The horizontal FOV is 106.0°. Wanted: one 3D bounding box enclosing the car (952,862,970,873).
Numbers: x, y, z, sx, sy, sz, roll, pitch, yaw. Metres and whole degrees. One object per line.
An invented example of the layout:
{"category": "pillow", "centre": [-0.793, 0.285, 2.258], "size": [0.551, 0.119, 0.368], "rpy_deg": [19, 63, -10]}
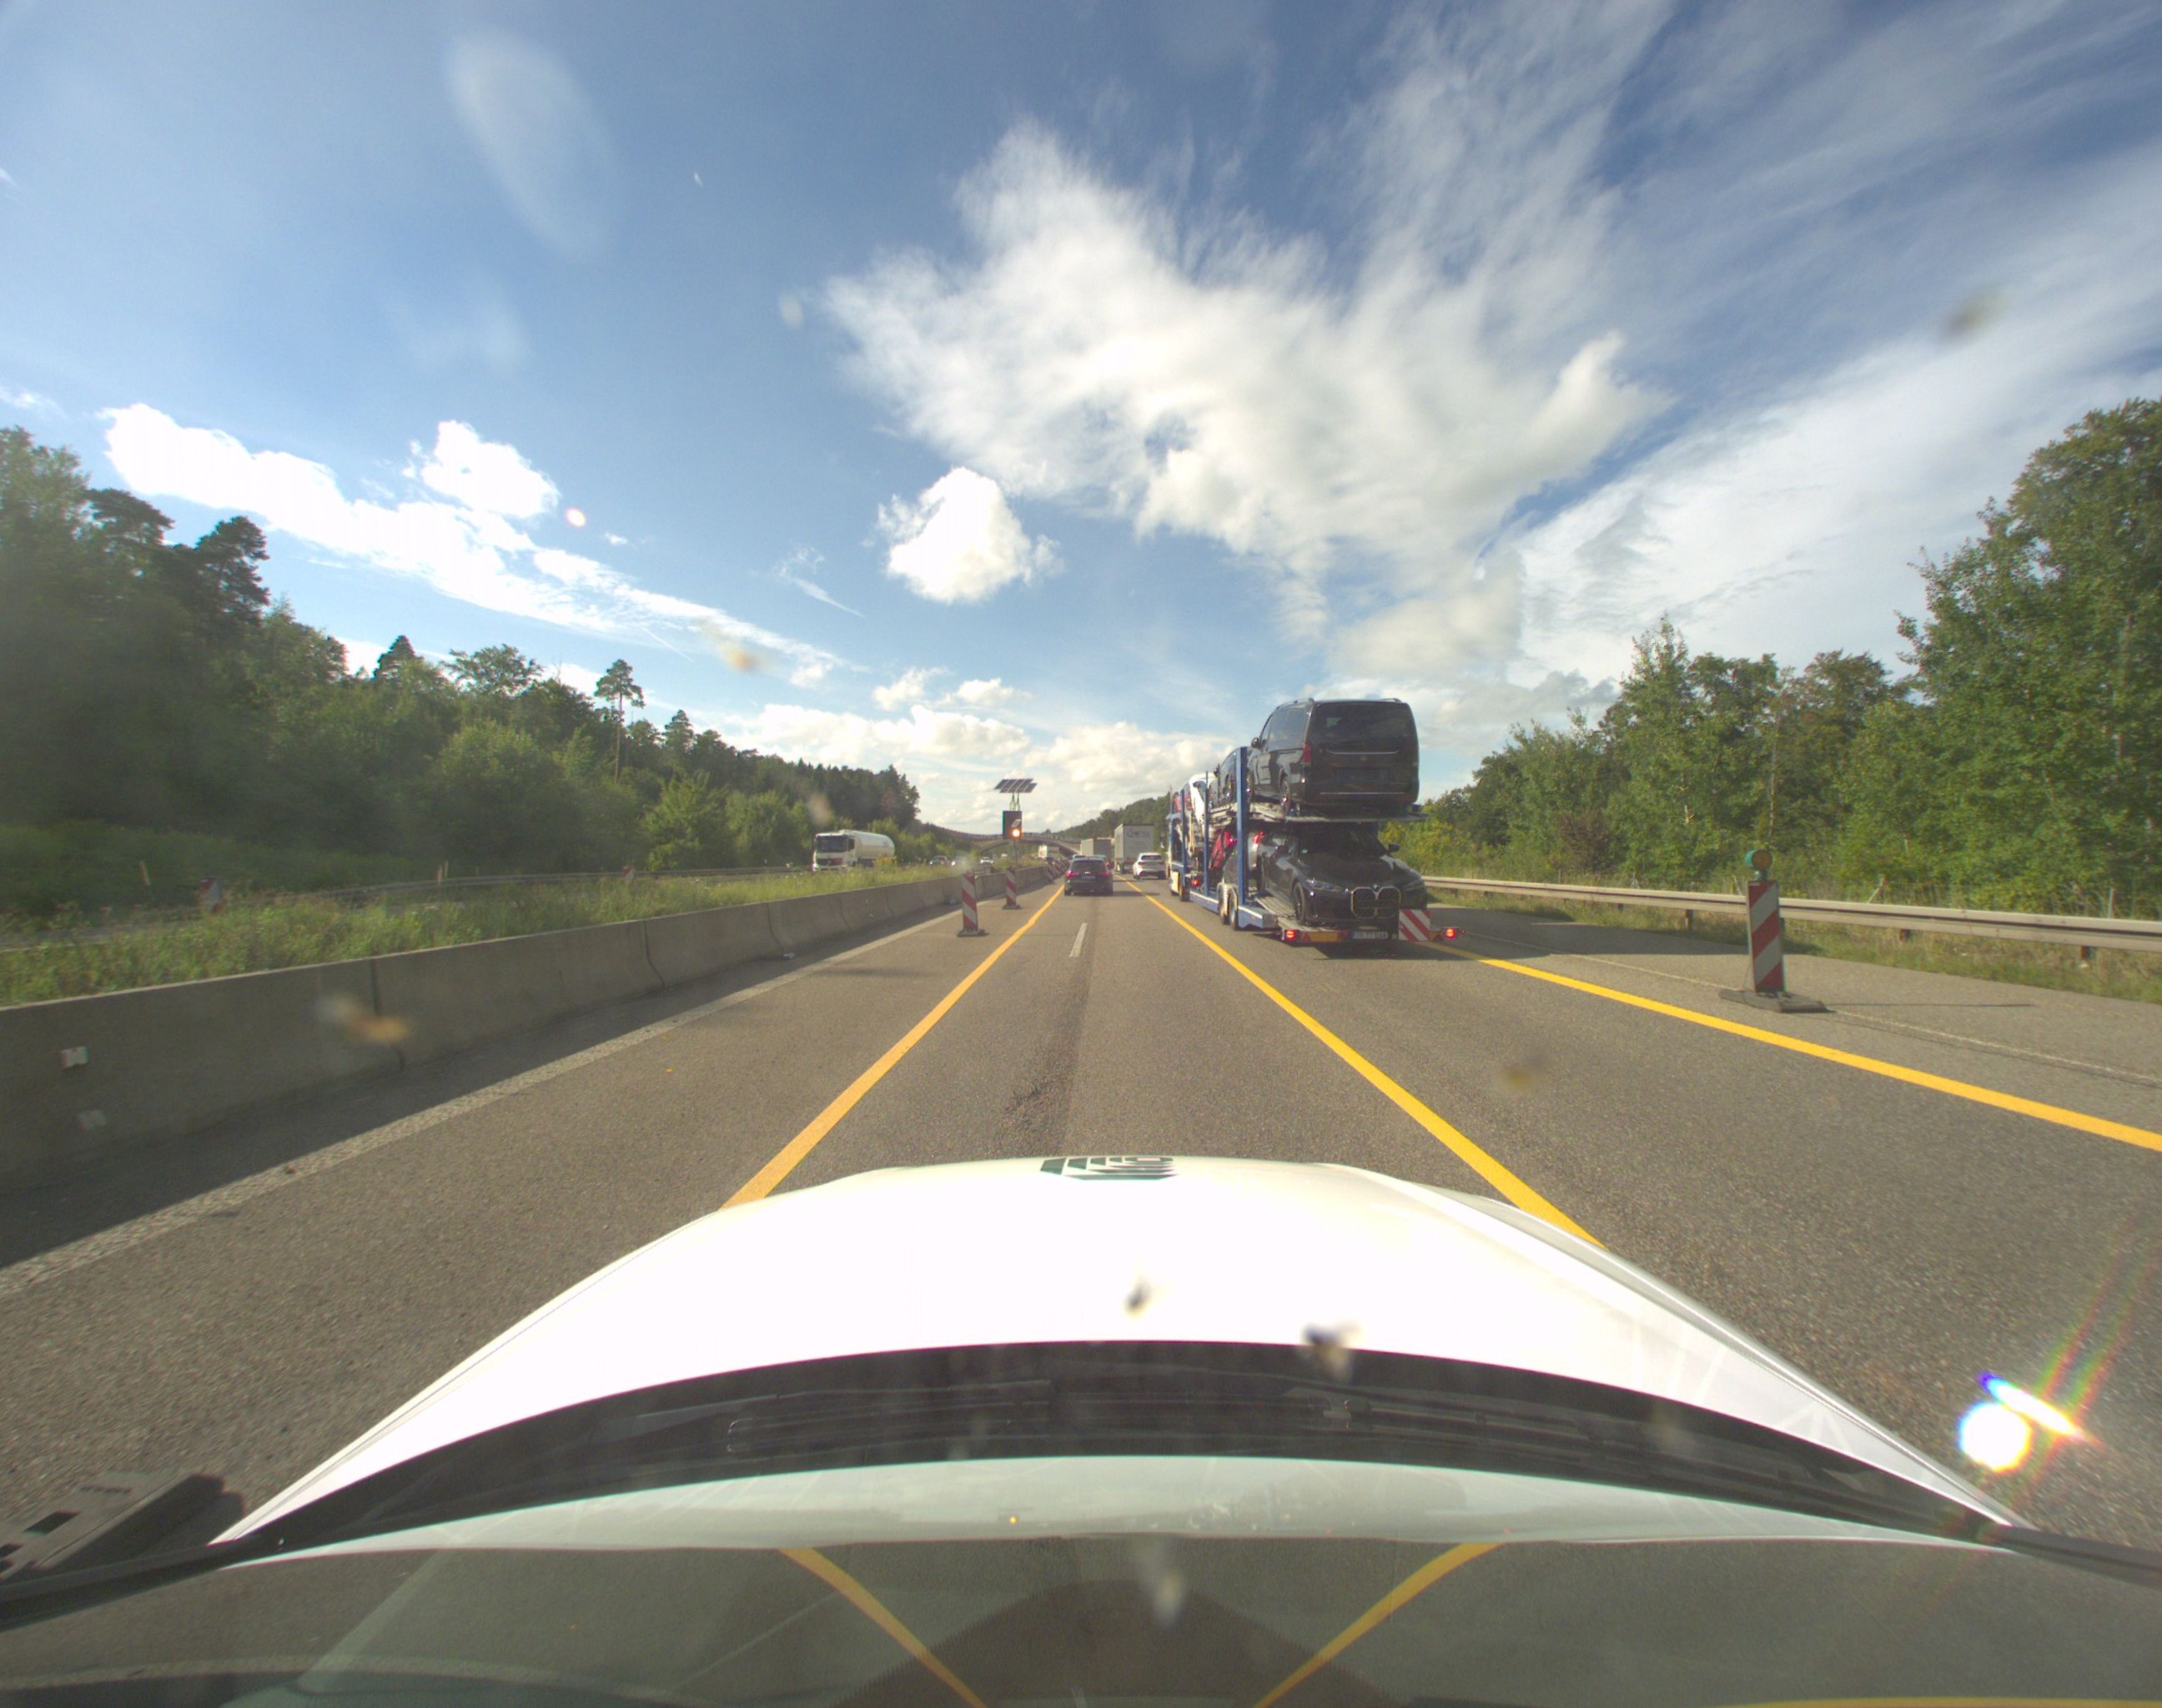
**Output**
{"category": "car", "centre": [-17.624, 2.008, 120.092], "size": [1.952, 1.588, 4.483], "rpy_deg": [0, 0, 1]}

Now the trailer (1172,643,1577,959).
{"category": "trailer", "centre": [4.817, -0.665, 18.964], "size": [3.714, 4.196, 16.227], "rpy_deg": [0, 0, 1]}

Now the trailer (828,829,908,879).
{"category": "trailer", "centre": [-15.897, 0.039, 61.796], "size": [2.791, 3.489, 11.118], "rpy_deg": [0, 0, 2]}

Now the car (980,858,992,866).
{"category": "car", "centre": [-19.572, 1.643, 167.694], "size": [1.771, 1.602, 4.020], "rpy_deg": [0, 0, 2]}

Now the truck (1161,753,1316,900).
{"category": "truck", "centre": [4.920, -0.775, 27.376], "size": [3.749, 4.196, 7.950], "rpy_deg": [0, 0, 0]}

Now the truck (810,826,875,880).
{"category": "truck", "centre": [-16.125, -0.035, 55.413], "size": [2.774, 3.490, 4.942], "rpy_deg": [0, 0, 2]}

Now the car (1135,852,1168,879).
{"category": "car", "centre": [4.427, 0.708, 51.579], "size": [1.883, 1.643, 4.020], "rpy_deg": [0, 0, 2]}

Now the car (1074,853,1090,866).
{"category": "car", "centre": [0.102, 0.709, 104.862], "size": [1.886, 1.643, 4.013], "rpy_deg": [0, 0, -3]}

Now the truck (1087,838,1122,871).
{"category": "truck", "centre": [3.302, 0.109, 118.329], "size": [4.310, 4.600, 11.112], "rpy_deg": [0, 0, -3]}

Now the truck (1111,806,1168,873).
{"category": "truck", "centre": [4.980, -1.103, 72.847], "size": [3.667, 5.353, 16.193], "rpy_deg": [0, 0, -1]}

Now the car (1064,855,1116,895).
{"category": "car", "centre": [0.421, 0.778, 31.846], "size": [1.883, 1.446, 4.002], "rpy_deg": [0, 0, 2]}

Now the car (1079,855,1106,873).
{"category": "car", "centre": [0.885, 0.795, 65.725], "size": [1.887, 1.446, 3.994], "rpy_deg": [0, 0, -4]}

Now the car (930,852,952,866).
{"category": "car", "centre": [-16.260, 0.604, 94.832], "size": [1.771, 1.602, 4.020], "rpy_deg": [0, 0, 2]}

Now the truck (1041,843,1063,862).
{"category": "truck", "centre": [-6.341, -0.216, 173.841], "size": [3.652, 3.928, 11.036], "rpy_deg": [0, 0, -8]}
